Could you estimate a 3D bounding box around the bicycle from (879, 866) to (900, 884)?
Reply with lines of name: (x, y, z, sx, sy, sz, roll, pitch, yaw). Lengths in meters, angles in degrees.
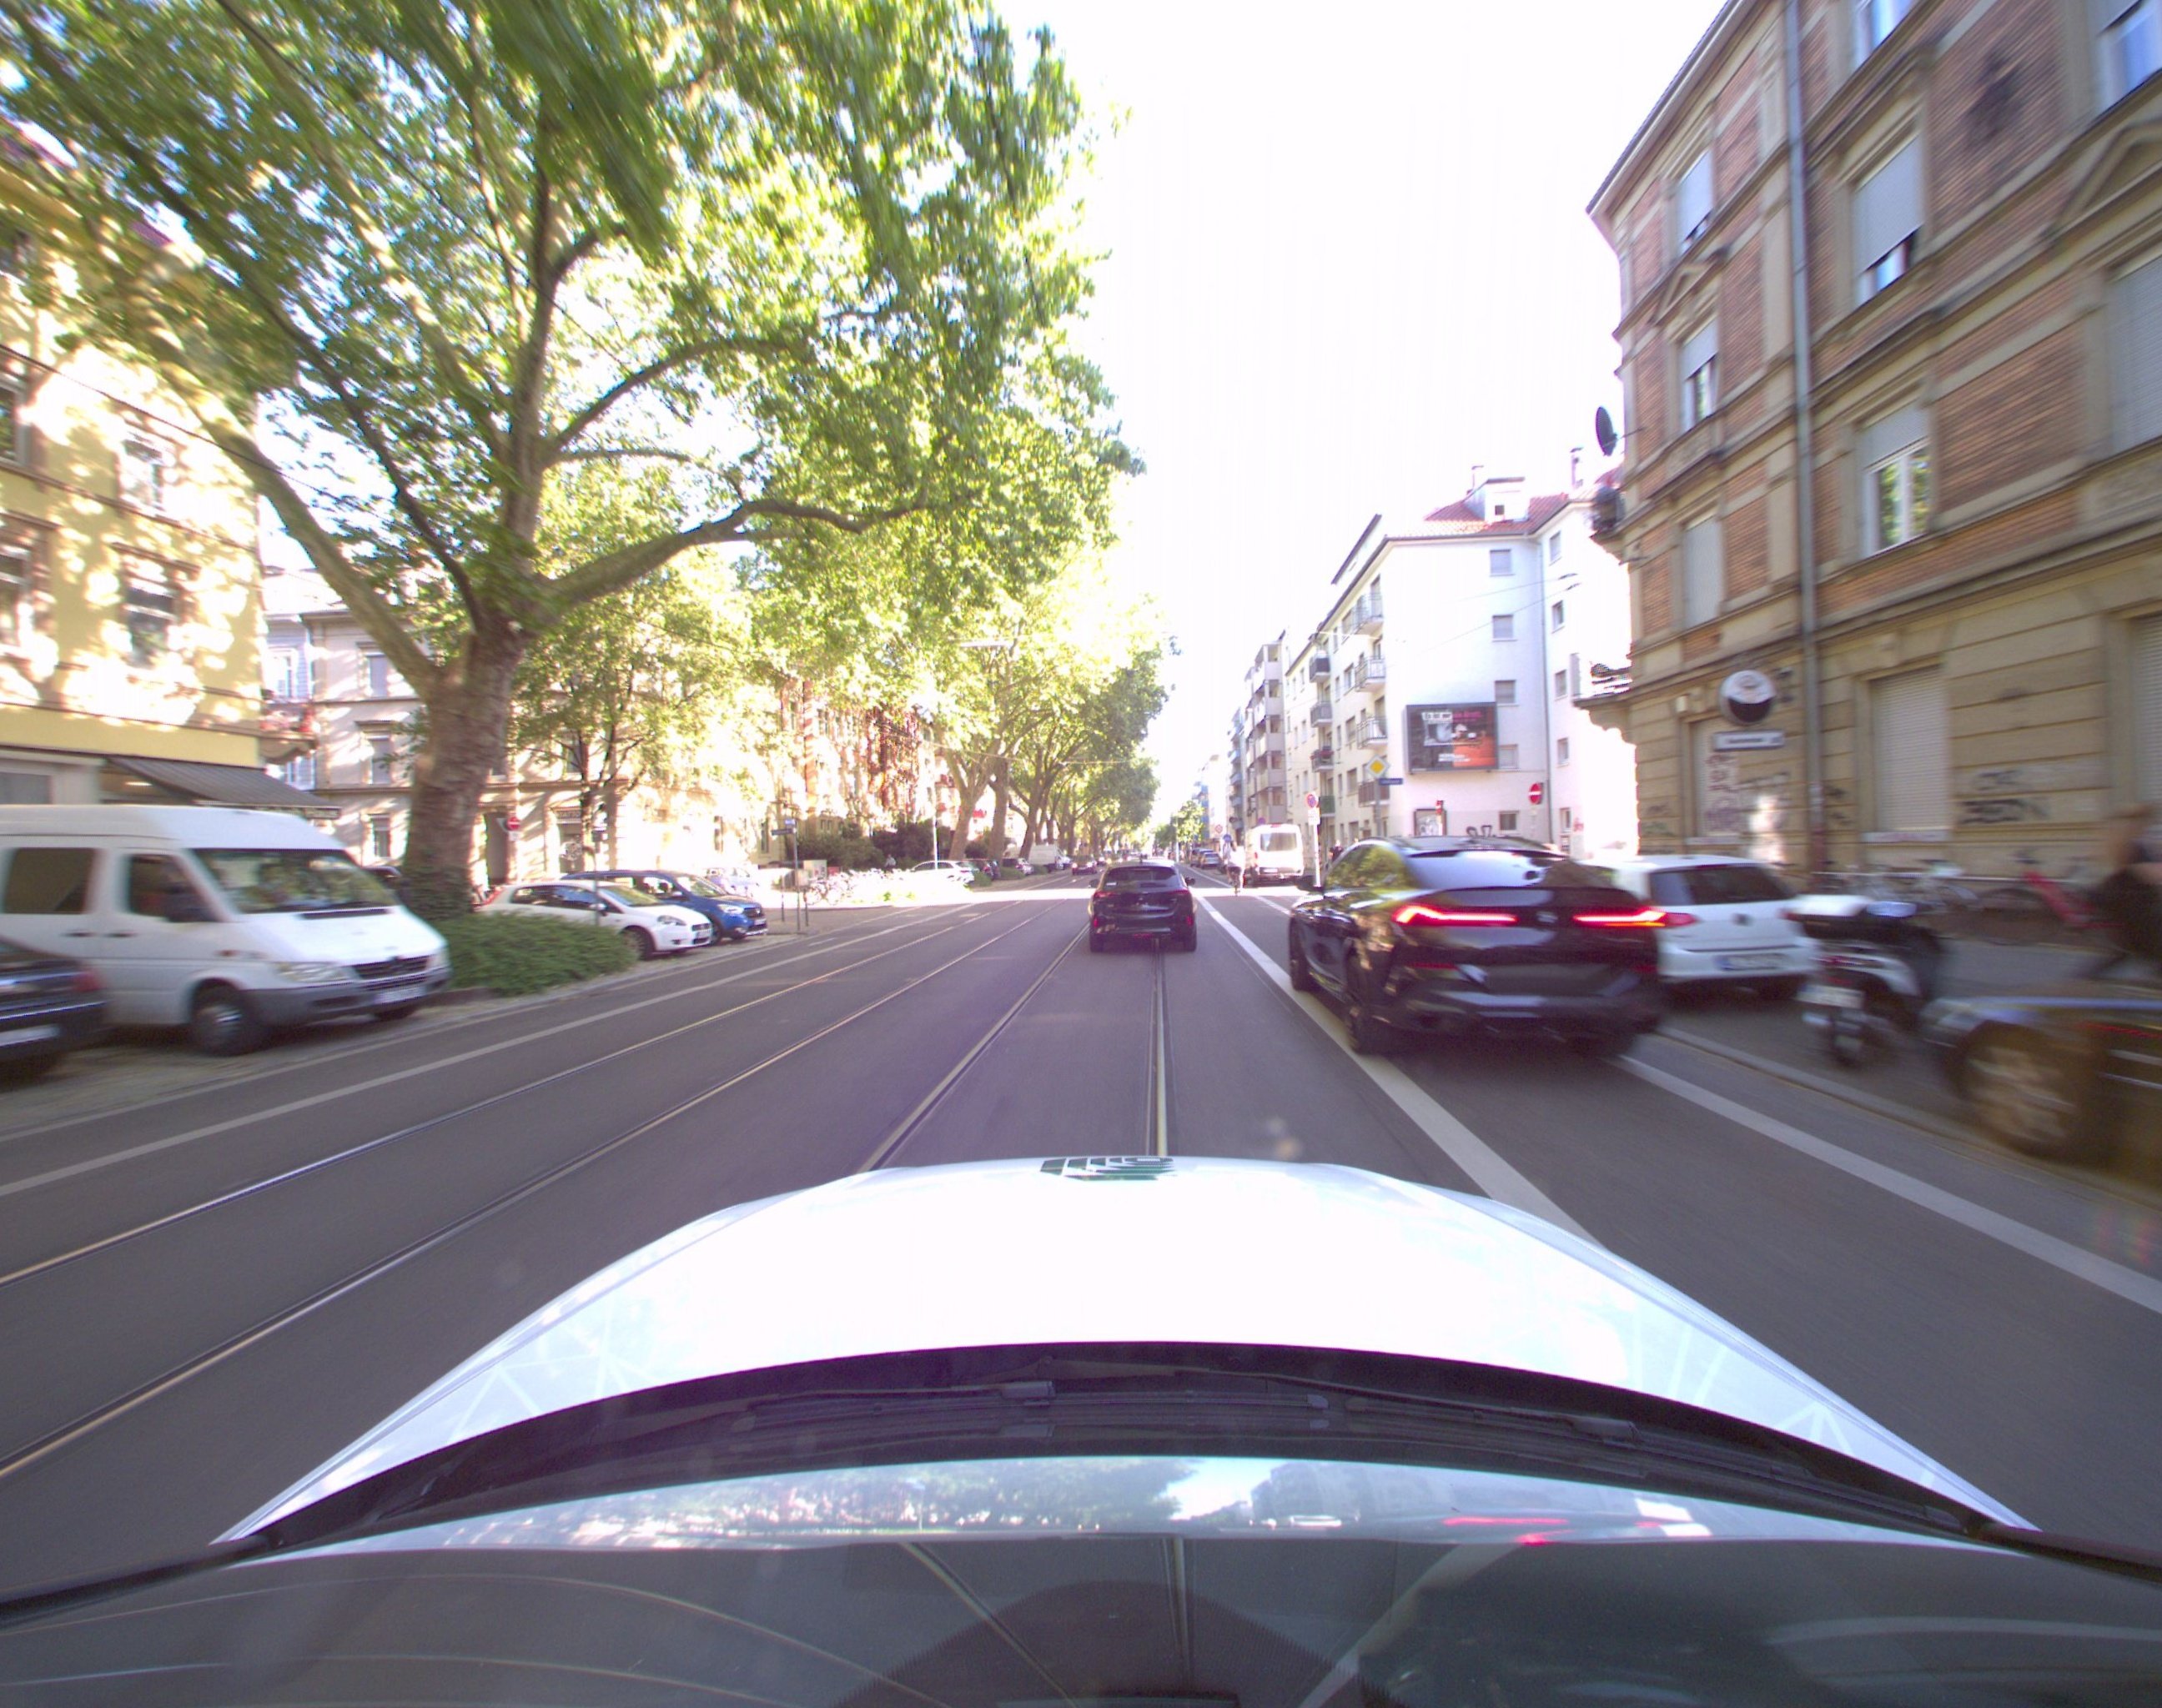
bicycle: (-12.512, 1.368, 53.258, 0.738, 1.138, 1.783, -2, 0, 5)

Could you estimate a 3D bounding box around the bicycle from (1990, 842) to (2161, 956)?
bicycle: (10.943, 0.458, 8.992, 0.376, 1.154, 1.375, -2, 0, 7)

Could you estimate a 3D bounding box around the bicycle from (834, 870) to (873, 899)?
bicycle: (-9.035, 1.223, 32.367, 1.544, 1.088, 0.398, -2, 0, 22)

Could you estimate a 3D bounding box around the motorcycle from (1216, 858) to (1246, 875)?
motorcycle: (9.965, 0.841, 54.152, 1.801, 1.080, 0.621, -3, -1, 28)

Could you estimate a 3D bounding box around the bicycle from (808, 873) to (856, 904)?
bicycle: (-9.291, 1.286, 30.384, 1.840, 1.088, 0.398, -2, 0, 22)

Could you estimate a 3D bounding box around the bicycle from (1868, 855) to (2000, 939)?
bicycle: (11.084, 0.529, 10.637, 0.376, 1.001, 1.375, -2, 0, 7)

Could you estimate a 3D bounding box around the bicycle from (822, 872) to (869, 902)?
bicycle: (-8.973, 1.257, 31.063, 1.840, 1.088, 0.398, -2, 0, 22)

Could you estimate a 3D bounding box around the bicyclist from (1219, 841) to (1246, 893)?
bicyclist: (5.202, 0.447, 28.076, 0.783, 1.759, 0.916, -2, 0, 4)

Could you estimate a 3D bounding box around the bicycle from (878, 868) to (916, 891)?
bicycle: (-8.515, 1.185, 37.634, 1.783, 1.043, 0.601, -2, 0, 32)

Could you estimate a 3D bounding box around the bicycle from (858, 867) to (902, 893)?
bicycle: (-9.005, 1.154, 36.467, 1.902, 1.088, 0.600, -2, 0, 22)

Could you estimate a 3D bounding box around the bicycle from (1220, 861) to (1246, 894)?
bicycle: (5.224, 0.779, 28.064, 0.698, 1.092, 1.992, 0, -1, 4)

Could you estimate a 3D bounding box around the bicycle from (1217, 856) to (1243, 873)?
bicycle: (10.079, 0.725, 55.019, 1.645, 1.055, 0.457, -4, 0, 4)

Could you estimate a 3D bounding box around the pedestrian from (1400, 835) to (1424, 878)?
pedestrian: (12.516, 0.101, 30.796, 0.628, 1.580, 0.934, 0, -1, 6)

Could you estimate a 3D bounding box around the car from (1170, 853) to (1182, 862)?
car: (16.528, 0.567, 141.744, 1.711, 1.490, 3.685, -2, 0, 3)

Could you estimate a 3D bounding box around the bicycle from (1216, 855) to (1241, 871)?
bicycle: (10.391, 0.643, 57.539, 1.645, 1.020, 0.457, -4, 0, 4)

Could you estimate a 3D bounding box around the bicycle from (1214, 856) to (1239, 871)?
bicycle: (10.382, 0.657, 58.086, 1.645, 0.966, 0.457, -4, 0, 4)

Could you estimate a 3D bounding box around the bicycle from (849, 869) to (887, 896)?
bicycle: (-8.692, 1.162, 33.214, 1.544, 1.088, 0.398, -2, 0, 22)

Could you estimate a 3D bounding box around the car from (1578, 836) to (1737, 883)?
car: (19.343, 0.185, 27.489, 4.005, 1.455, 1.793, -2, 0, 5)

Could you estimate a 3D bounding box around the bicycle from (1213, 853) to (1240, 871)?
bicycle: (10.443, 0.548, 58.572, 1.815, 1.191, 0.457, -4, 0, 4)

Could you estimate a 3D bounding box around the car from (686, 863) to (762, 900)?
car: (-15.382, 1.155, 35.287, 1.592, 1.460, 3.491, -2, 0, 2)

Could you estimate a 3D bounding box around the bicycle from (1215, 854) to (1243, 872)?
bicycle: (10.326, 0.599, 56.843, 1.785, 1.148, 0.705, -4, 0, 4)

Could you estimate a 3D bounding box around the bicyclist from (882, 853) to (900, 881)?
bicyclist: (-12.455, 0.849, 53.412, 0.826, 1.763, 1.049, -2, 0, 4)

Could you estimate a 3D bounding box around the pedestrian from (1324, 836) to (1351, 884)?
pedestrian: (10.087, 0.232, 32.041, 0.706, 1.822, 1.084, -3, -1, 6)

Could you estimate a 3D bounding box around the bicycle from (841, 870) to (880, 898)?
bicycle: (-8.892, 1.224, 32.810, 1.544, 1.088, 0.398, -2, 0, 22)

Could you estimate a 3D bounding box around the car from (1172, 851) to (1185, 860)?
car: (16.209, 0.245, 135.580, 1.712, 1.574, 4.085, -2, 0, 1)

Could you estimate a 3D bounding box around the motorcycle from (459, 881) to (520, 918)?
motorcycle: (-21.755, 1.652, 30.002, 0.584, 1.261, 1.881, -2, 0, 10)

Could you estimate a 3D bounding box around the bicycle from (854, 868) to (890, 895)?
bicycle: (-9.032, 1.191, 35.225, 1.544, 1.088, 0.398, -2, 0, 22)

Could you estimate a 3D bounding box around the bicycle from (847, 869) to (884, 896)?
bicycle: (-9.190, 1.218, 34.752, 1.544, 1.088, 0.398, -2, 0, 22)

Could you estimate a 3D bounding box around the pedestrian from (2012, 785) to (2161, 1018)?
pedestrian: (7.839, 0.339, 6.238, 0.719, 1.657, 0.759, -1, -1, -29)

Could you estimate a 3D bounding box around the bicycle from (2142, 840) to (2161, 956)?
bicycle: (10.869, 0.441, 7.696, 0.272, 1.154, 1.141, -2, 0, 7)

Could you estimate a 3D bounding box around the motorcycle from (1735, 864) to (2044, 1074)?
motorcycle: (5.837, 0.749, 5.879, 2.139, 1.289, 0.639, -1, 0, -18)

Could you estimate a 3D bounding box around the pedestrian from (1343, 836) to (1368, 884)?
pedestrian: (10.755, 0.228, 31.978, 0.622, 1.822, 1.084, -3, -1, 7)

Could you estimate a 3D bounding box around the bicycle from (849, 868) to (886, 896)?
bicycle: (-8.862, 1.163, 33.811, 1.544, 1.088, 0.398, -2, 0, 22)

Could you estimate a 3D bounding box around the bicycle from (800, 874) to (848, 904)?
bicycle: (-9.459, 1.291, 29.978, 1.840, 1.088, 0.398, -2, 0, 22)
